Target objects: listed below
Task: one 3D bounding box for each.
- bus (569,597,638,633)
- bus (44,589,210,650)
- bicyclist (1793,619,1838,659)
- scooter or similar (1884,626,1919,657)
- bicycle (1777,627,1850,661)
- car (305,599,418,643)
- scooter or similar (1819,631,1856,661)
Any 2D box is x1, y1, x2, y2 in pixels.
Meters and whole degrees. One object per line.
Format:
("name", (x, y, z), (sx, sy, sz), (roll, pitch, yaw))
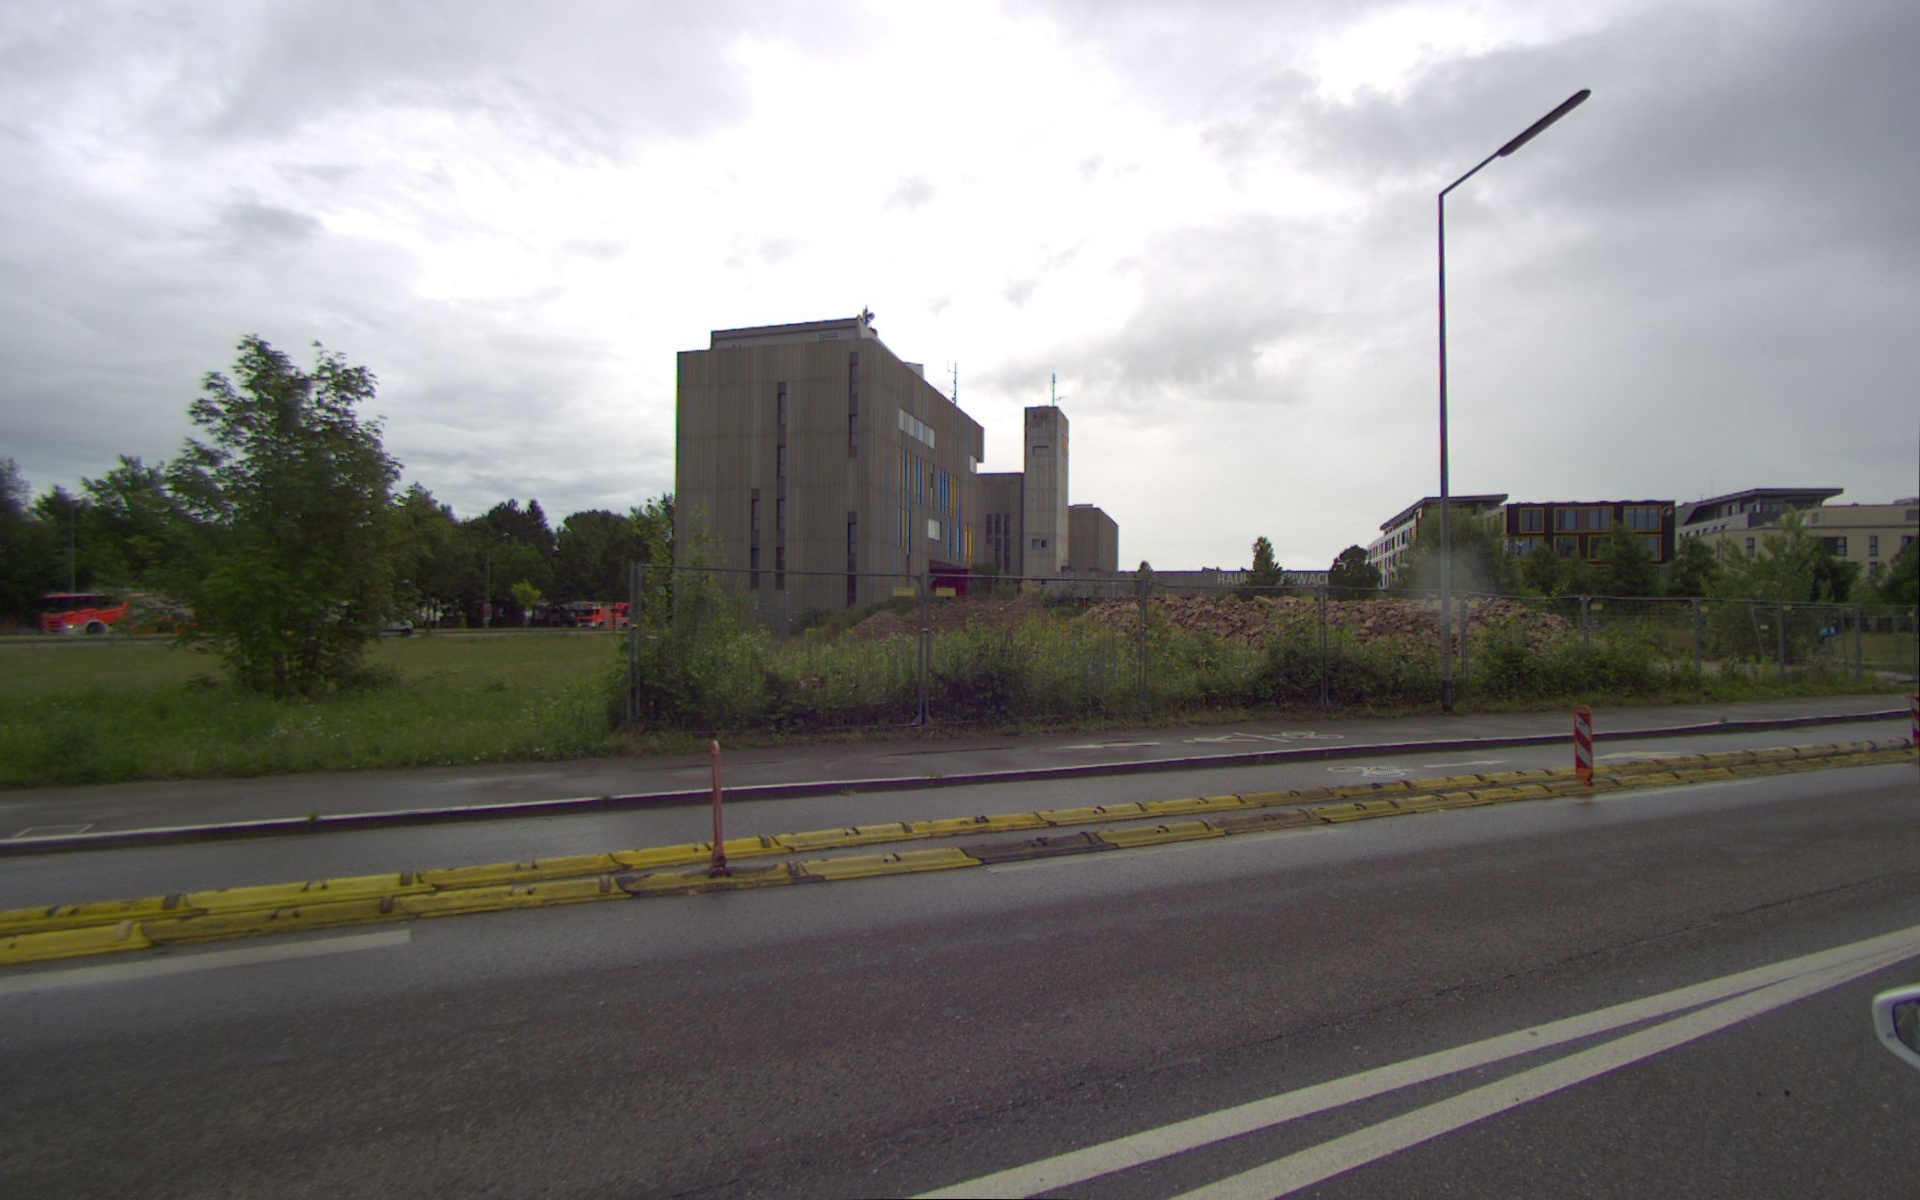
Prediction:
("bus", (-41.613, 1.752, 117.591), (2.679, 4.035, 9.896), (-1, -1, 13))
("bus", (-53.783, 1.276, 65.254), (2.679, 3.696, 8.403), (-1, -1, 13))
("bicyclist", (41.709, 1.890, 48.970), (1.064, 1.924, 1.391), (0, -1, -30))
("scooter or similar", (36.640, 1.593, 38.809), (0.644, 1.157, 1.903), (1, -1, 19))
("bicycle", (41.652, 2.119, 49.040), (1.074, 1.605, 2.480), (0, -1, -30))
("car", (-39.278, 1.393, 66.215), (2.350, 2.740, 6.576), (-1, -1, 16))
("scooter or similar", (36.343, 1.893, 41.625), (0.403, 1.157, 1.338), (2, 0, 4))
